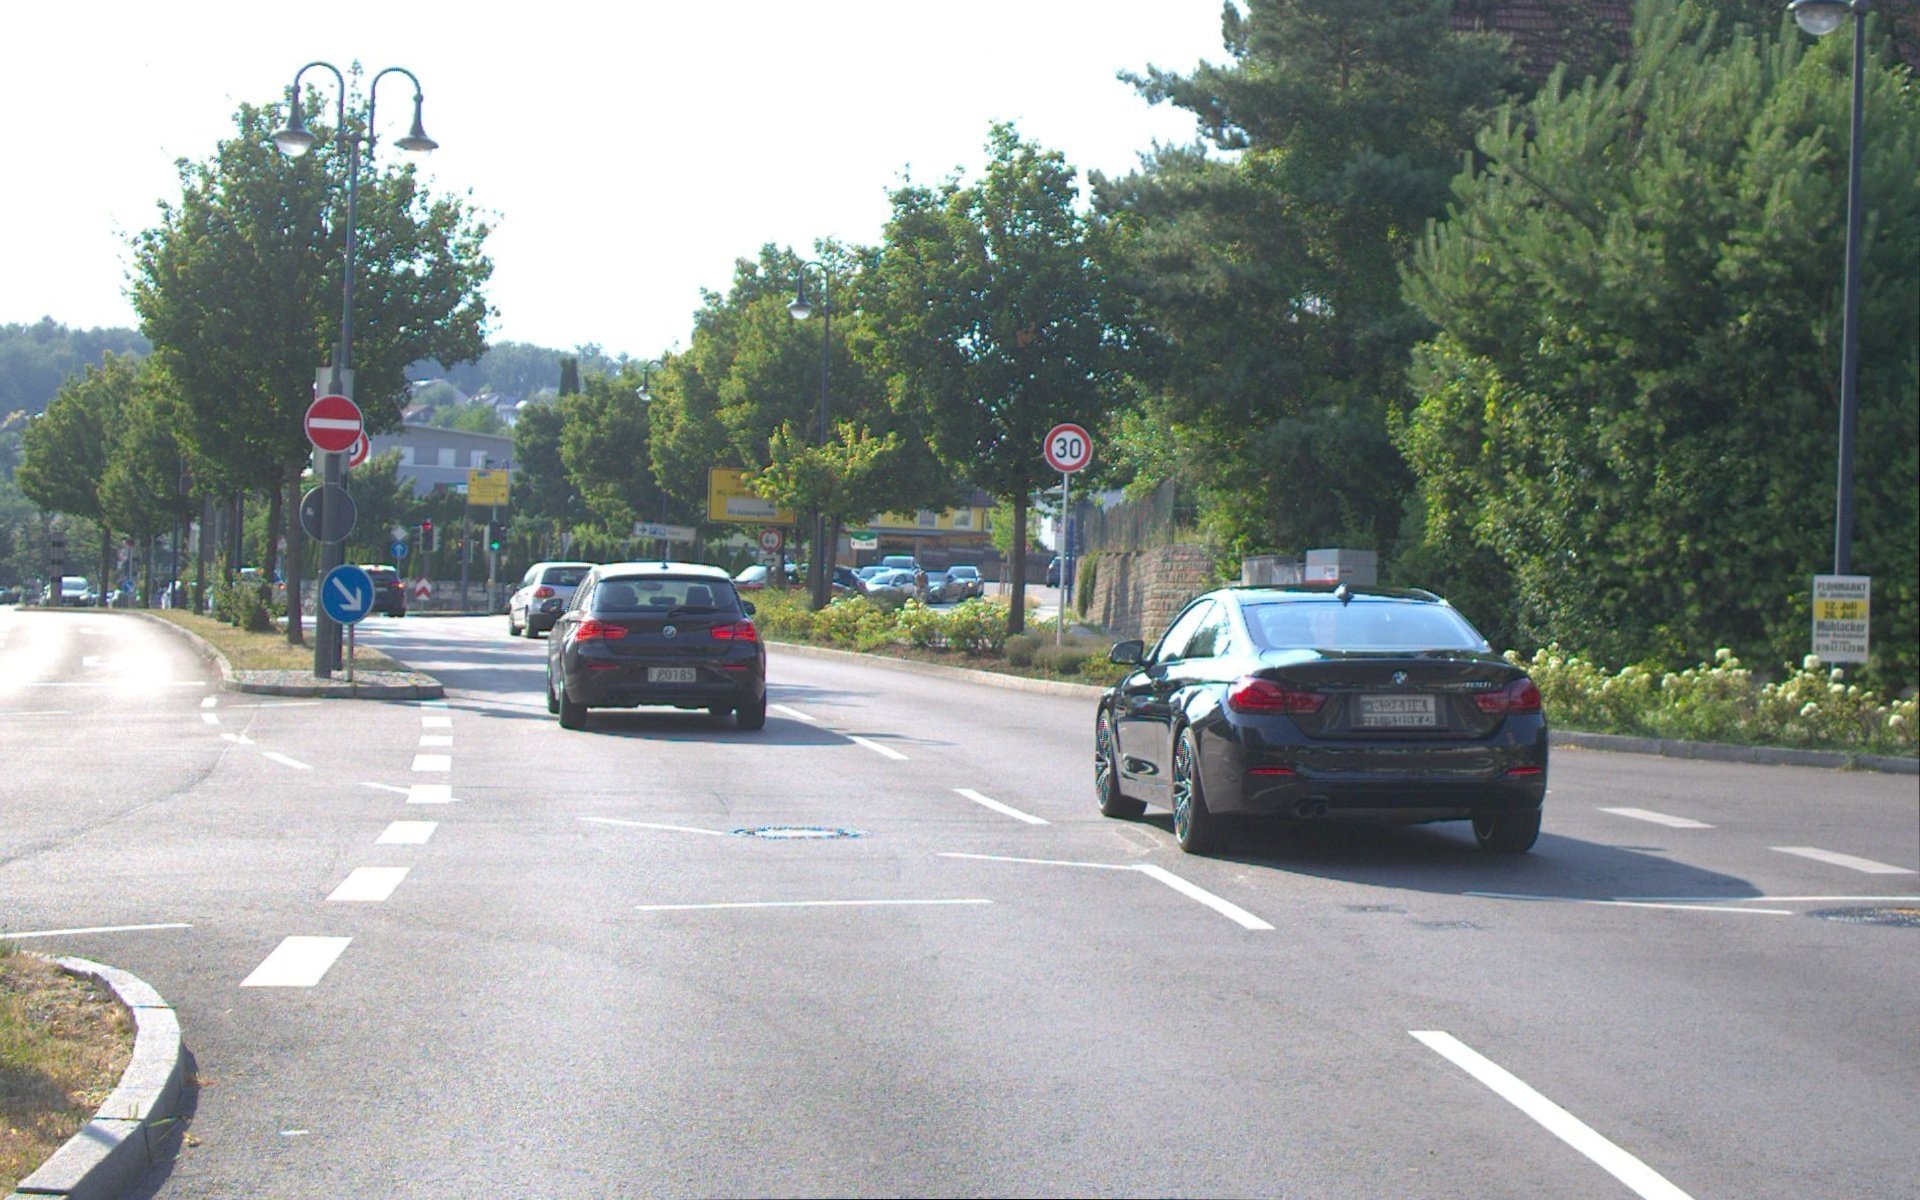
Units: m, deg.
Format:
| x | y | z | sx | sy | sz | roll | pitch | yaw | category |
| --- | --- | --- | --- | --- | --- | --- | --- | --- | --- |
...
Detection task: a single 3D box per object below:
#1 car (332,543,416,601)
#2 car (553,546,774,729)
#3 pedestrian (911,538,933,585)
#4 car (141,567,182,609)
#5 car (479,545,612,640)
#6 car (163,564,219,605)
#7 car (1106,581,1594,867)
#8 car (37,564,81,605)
| x | y | z | sx | sy | sz | roll | pitch | yaw | category |
| --- | --- | --- | --- | --- | --- | --- | --- | --- | --- |
| -18.780 | -0.911 | 110.029 | 2.216 | 1.763 | 4.456 | 1 | 1 | -15 | car |
| -2.730 | 0.291 | 30.878 | 1.720 | 1.485 | 4.354 | 2 | 1 | -8 | car |
| -1.406 | -1.419 | 126.986 | 0.695 | 1.697 | 0.950 | 1 | 0 | -7 | pedestrian |
| -39.232 | -0.603 | 168.998 | 1.772 | 2.007 | 4.001 | 1 | 1 | -11 | car |
| -8.143 | -0.174 | 67.270 | 1.924 | 1.763 | 4.456 | 1 | 1 | -15 | car |
| -34.487 | -0.726 | 154.156 | 2.216 | 1.763 | 4.456 | 1 | 1 | -15 | car |
| 1.985 | 0.591 | 18.827 | 1.920 | 1.359 | 4.353 | 1 | 0 | -3 | car |
| -38.791 | -0.673 | 148.063 | 1.729 | 1.673 | 4.001 | 1 | 0 | -13 | car |
